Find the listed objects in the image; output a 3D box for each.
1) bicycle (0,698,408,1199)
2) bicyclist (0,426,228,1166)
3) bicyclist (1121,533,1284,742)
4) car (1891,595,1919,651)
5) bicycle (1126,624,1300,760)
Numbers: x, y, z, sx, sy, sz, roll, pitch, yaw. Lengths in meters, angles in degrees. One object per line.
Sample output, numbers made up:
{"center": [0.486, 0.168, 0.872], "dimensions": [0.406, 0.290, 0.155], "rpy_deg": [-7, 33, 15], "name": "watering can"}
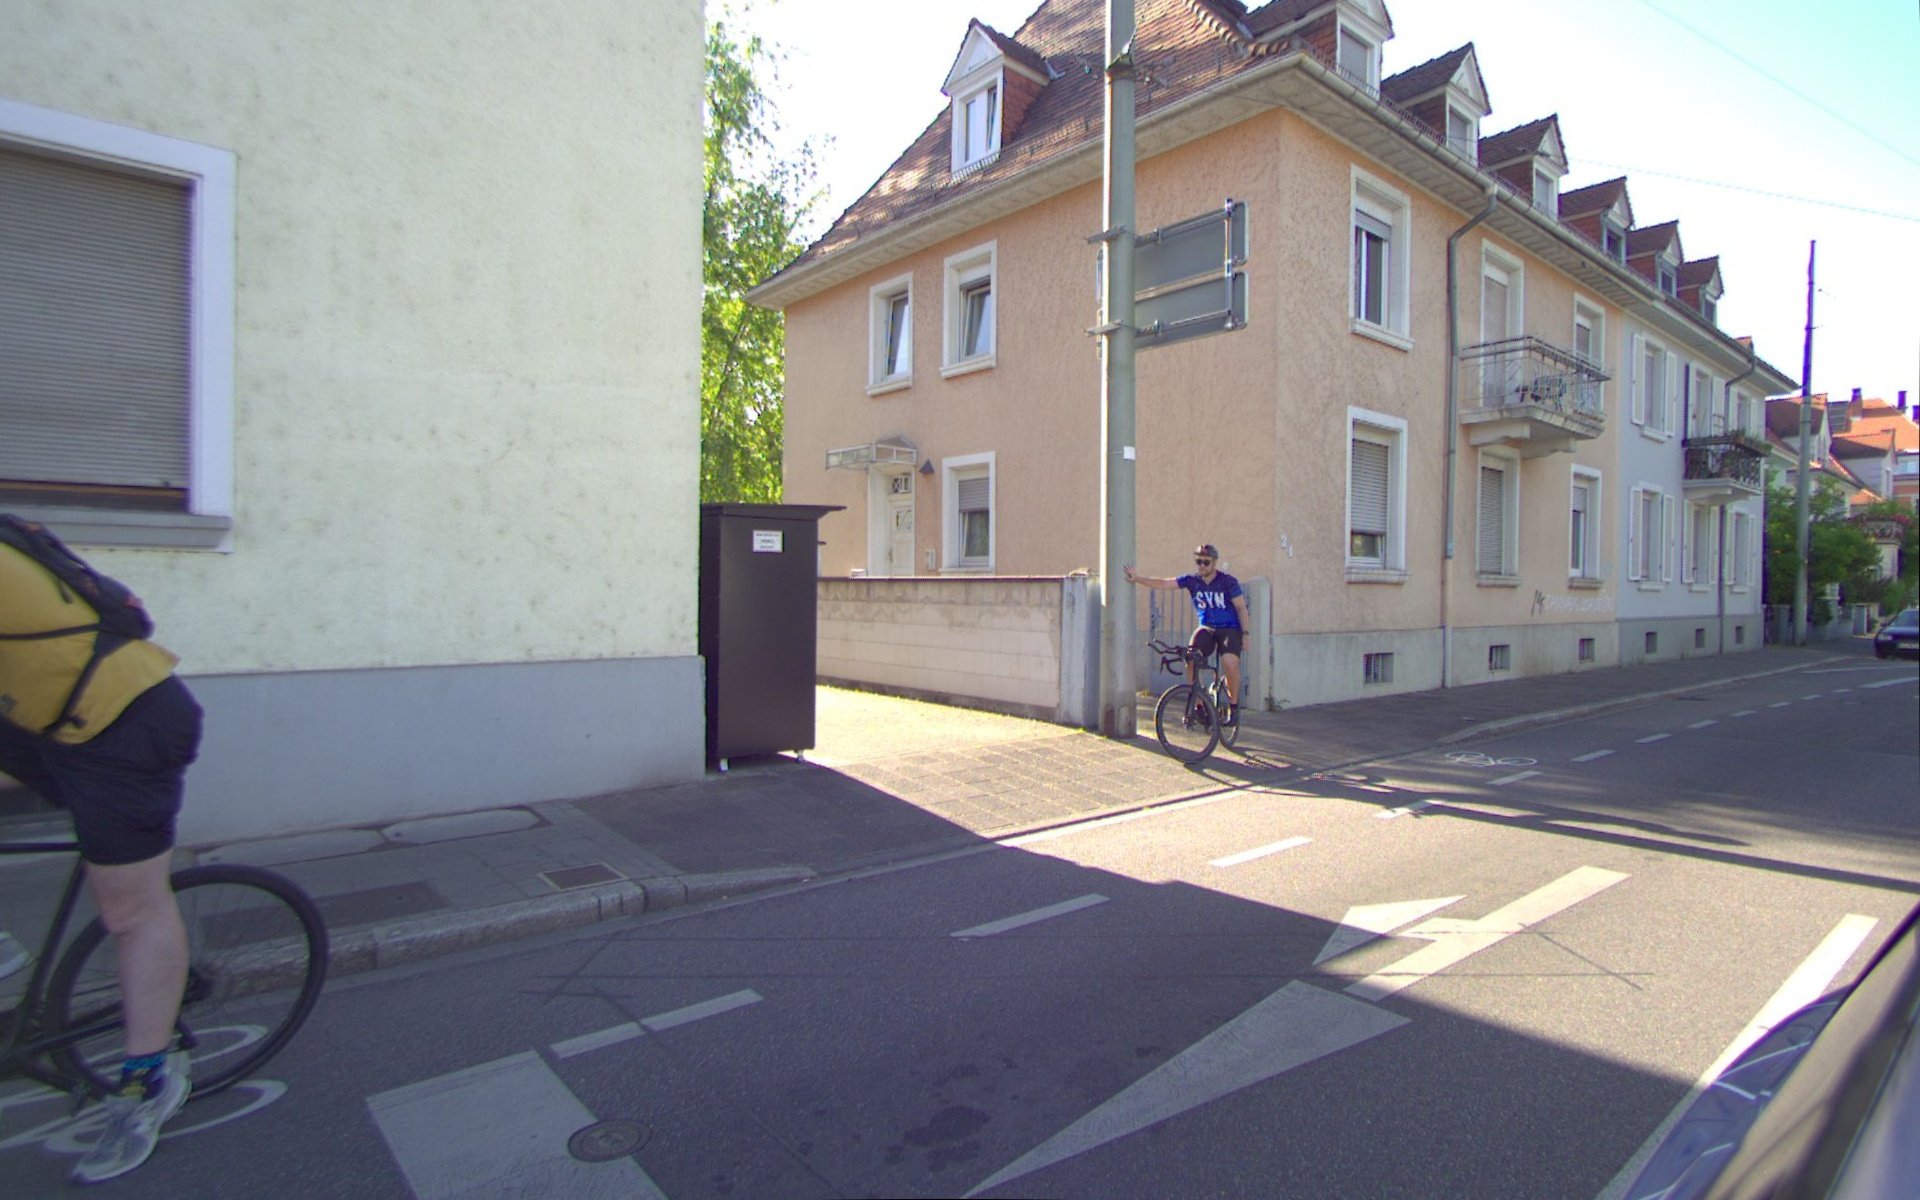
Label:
{"center": [-2.466, 0.889, 2.576], "dimensions": [1.778, 1.101, 0.611], "rpy_deg": [0, 1, -41], "name": "bicycle"}
{"center": [-2.472, 0.457, 2.576], "dimensions": [0.939, 1.743, 0.582], "rpy_deg": [0, 1, -41], "name": "bicyclist"}
{"center": [2.246, 0.301, 9.441], "dimensions": [0.838, 1.758, 1.072], "rpy_deg": [0, 6, -40], "name": "bicyclist"}
{"center": [26.640, 0.600, 27.326], "dimensions": [3.932, 1.438, 1.845], "rpy_deg": [0, 1, -42], "name": "car"}
{"center": [2.332, 0.785, 9.211], "dimensions": [1.689, 1.064, 0.595], "rpy_deg": [1, 5, -41], "name": "bicycle"}
